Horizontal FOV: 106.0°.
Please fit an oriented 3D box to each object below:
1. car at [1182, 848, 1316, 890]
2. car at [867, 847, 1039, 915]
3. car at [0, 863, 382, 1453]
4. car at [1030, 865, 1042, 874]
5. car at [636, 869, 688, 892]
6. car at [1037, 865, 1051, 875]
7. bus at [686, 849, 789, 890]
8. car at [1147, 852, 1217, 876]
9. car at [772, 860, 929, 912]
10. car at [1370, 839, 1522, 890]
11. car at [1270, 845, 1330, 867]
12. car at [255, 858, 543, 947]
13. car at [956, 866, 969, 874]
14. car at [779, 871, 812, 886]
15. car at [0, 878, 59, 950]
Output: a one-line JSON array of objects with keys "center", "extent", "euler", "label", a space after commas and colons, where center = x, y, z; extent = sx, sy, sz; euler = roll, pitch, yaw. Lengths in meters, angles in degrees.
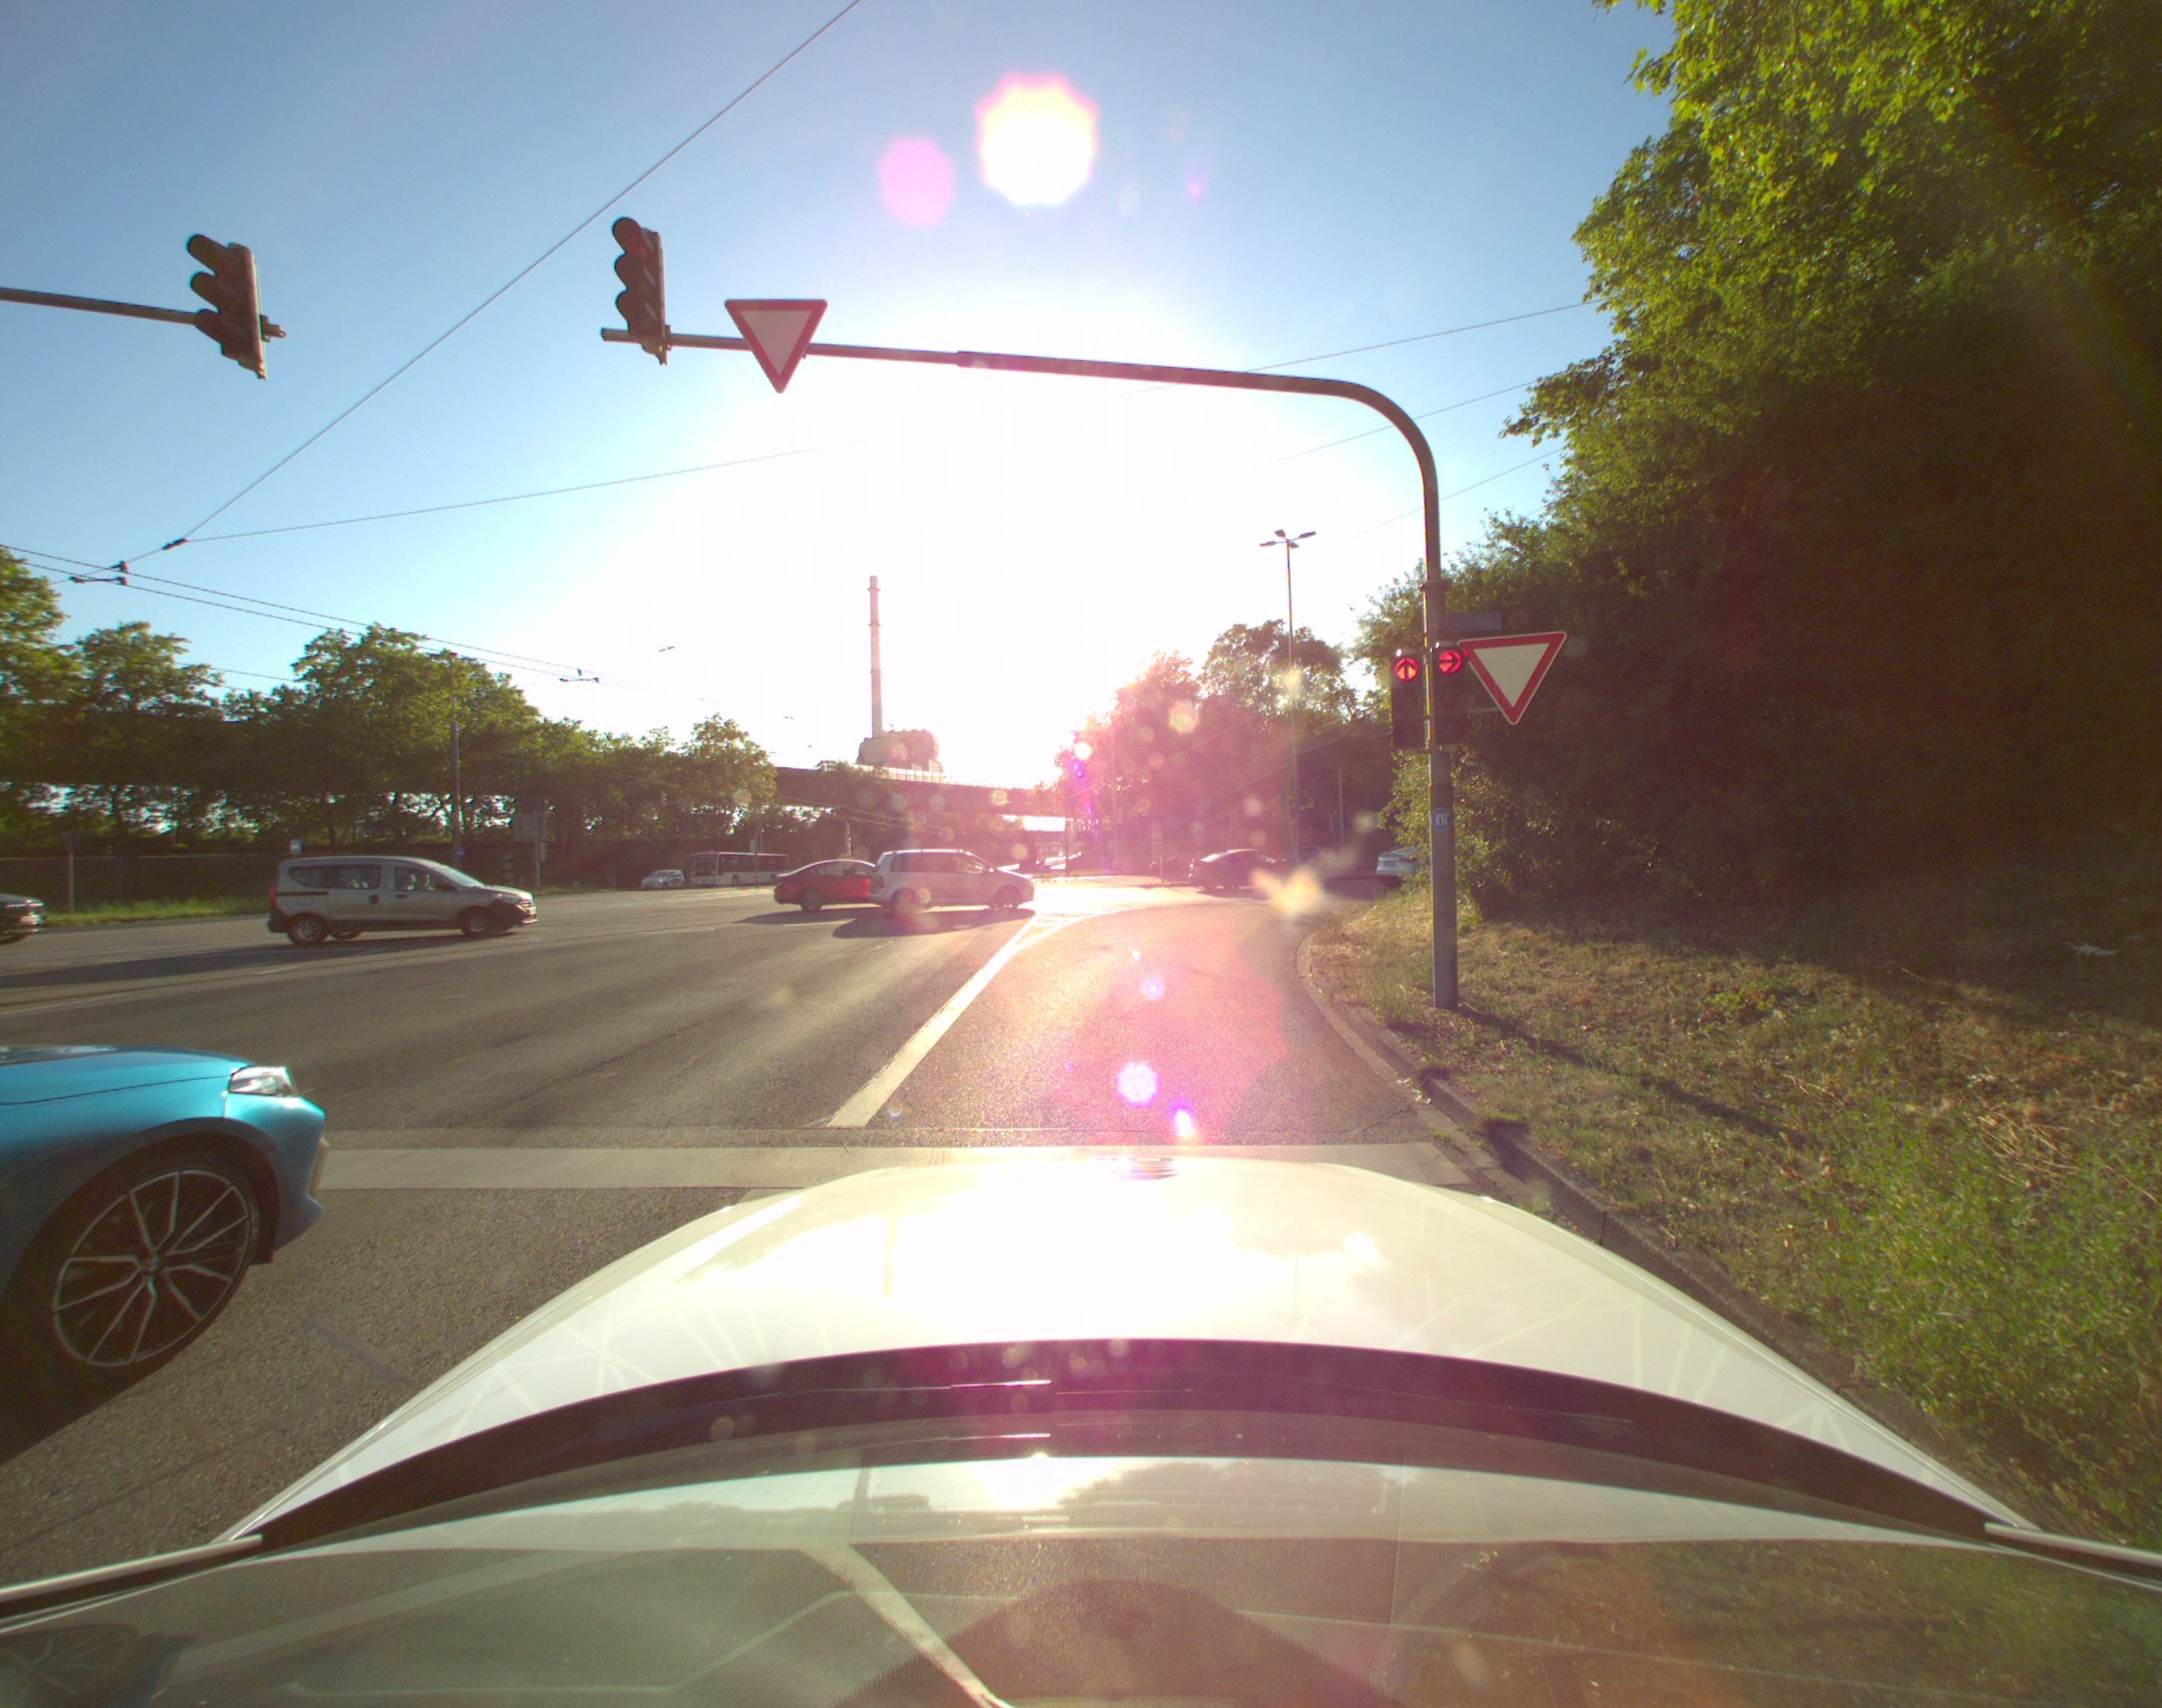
[{"center": [6.002, 0.516, 29.114], "extent": [4.490, 1.369, 1.683], "euler": [-1, 0, -19], "label": "car"}, {"center": [-3.408, 0.673, 21.617], "extent": [4.287, 1.631, 1.683], "euler": [-1, 0, -19], "label": "car"}, {"center": [-3.565, 0.796, 1.050], "extent": [1.709, 1.466, 4.205], "euler": [-2, 0, -1], "label": "car"}, {"center": [-7.595, 2.627, 137.624], "extent": [1.658, 1.405, 4.448], "euler": [-1, 0, 3], "label": "car"}, {"center": [-30.132, 1.916, 58.675], "extent": [1.601, 1.512, 4.007], "euler": [-1, 0, 0], "label": "car"}, {"center": [-5.321, 2.277, 116.238], "extent": [1.659, 1.405, 4.198], "euler": [-1, 0, 2], "label": "car"}, {"center": [-29.447, 1.374, 70.711], "extent": [2.532, 3.130, 12.931], "euler": [-2, -2, 4], "label": "bus"}, {"center": [7.036, 0.667, 57.019], "extent": [4.585, 1.575, 1.685], "euler": [-1, 0, -16], "label": "car"}, {"center": [-6.712, 0.898, 23.832], "extent": [4.287, 1.364, 1.613], "euler": [-1, 0, -19], "label": "car"}, {"center": [12.100, 0.317, 27.000], "extent": [4.766, 1.575, 1.683], "euler": [-1, 0, -19], "label": "car"}, {"center": [16.247, 0.135, 60.400], "extent": [4.005, 1.512, 1.684], "euler": [-1, 0, -17], "label": "car"}, {"center": [-14.415, 0.954, 17.541], "extent": [4.417, 1.678, 1.681], "euler": [-1, 0, -22], "label": "car"}, {"center": [-22.240, 3.050, 152.562], "extent": [1.600, 1.419, 4.012], "euler": [-1, 0, 3], "label": "car"}, {"center": [-28.565, 2.450, 81.599], "extent": [1.600, 1.419, 4.012], "euler": [-1, 0, 3], "label": "car"}, {"center": [-25.612, 1.348, 17.415], "extent": [4.417, 1.526, 1.611], "euler": [-1, 0, -23], "label": "car"}]
